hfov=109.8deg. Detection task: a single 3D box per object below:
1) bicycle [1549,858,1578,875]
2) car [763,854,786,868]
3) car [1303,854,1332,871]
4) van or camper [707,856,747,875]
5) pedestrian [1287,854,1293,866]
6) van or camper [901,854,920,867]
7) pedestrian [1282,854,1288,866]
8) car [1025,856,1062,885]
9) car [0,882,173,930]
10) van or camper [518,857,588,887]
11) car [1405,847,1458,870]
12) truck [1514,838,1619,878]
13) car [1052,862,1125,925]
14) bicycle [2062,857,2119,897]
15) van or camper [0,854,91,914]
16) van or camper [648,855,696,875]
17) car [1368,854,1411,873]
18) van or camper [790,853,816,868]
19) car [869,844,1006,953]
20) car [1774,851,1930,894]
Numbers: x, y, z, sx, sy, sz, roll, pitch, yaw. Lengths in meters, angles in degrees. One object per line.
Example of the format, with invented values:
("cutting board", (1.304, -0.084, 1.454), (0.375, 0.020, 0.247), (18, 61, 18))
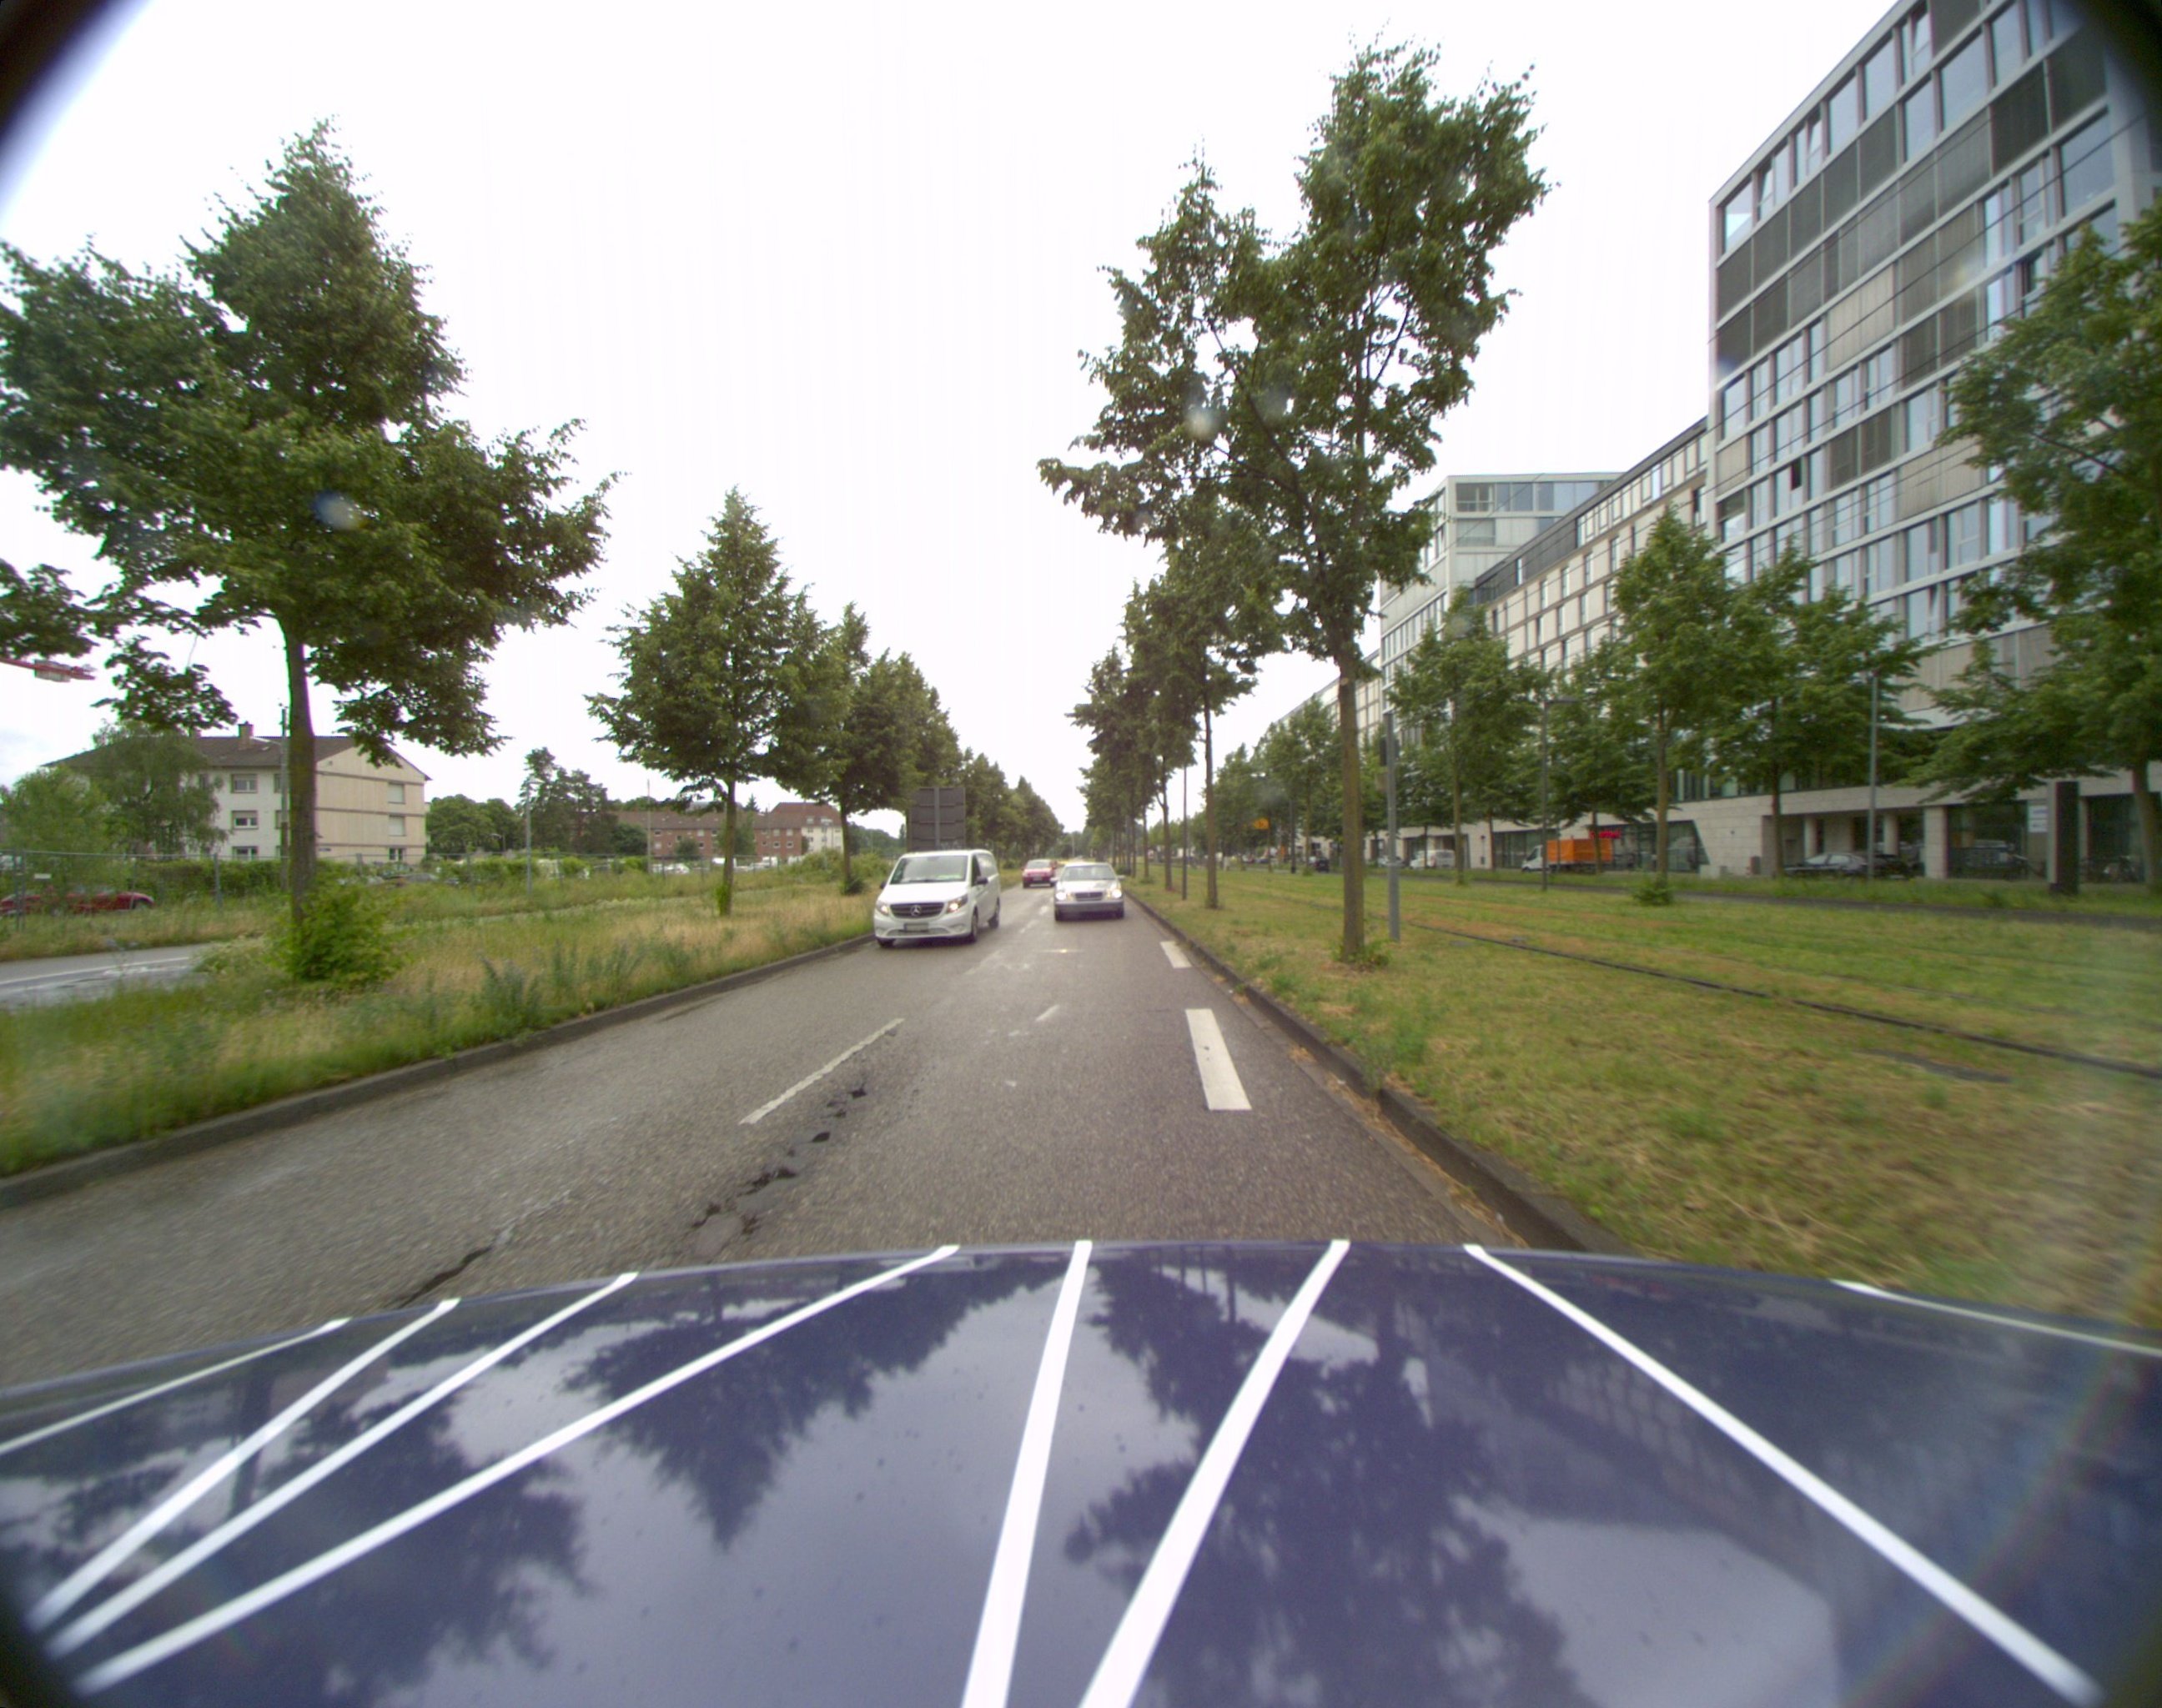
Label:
("bicycle", (27.296, 0.711, 43.009), (0.600, 0.939, 1.757), (-1, 0, 4))
("car", (-52.882, 1.179, 131.269), (2.278, 2.206, 4.758), (-2, 0, -3))
("car", (23.694, 0.845, 76.143), (1.998, 1.647, 3.701), (-1, 0, 4))
("van or camper", (-51.575, 1.678, 110.872), (2.783, 2.521, 6.418), (-3, 0, -2))
("pedestrian", (30.249, 0.921, 109.904), (0.712, 1.681, 0.793), (-1, 0, 3))
("van or camper", (-41.309, 1.475, 184.151), (2.343, 3.017, 5.515), (-3, 0, 11))
("pedestrian", (29.464, 0.900, 109.745), (0.712, 1.681, 0.793), (-1, 0, 3))
("car", (-2.158, 0.942, 44.895), (1.799, 1.602, 4.246), (-2, 0, 2))
("car", (-39.143, 1.988, 29.894), (1.859, 1.592, 4.002), (-1, 0, 6))
("van or camper", (-50.515, 1.634, 72.912), (2.314, 2.673, 6.395), (-1, 0, -2))
("car", (29.239, 0.357, 63.531), (1.999, 1.841, 5.164), (-1, 0, 0))
("truck", (29.660, 0.237, 46.728), (2.432, 2.278, 6.309), (-1, 0, 0))
("car", (0.176, 0.984, 20.787), (1.738, 1.451, 4.607), (-2, 0, 0))
("bicycle", (38.269, 0.854, 28.816), (1.436, 1.474, 0.546), (-2, 0, -1))
("van or camper", (-55.025, 1.539, 37.663), (2.914, 2.976, 6.777), (-1, 0, 1))
("van or camper", (-51.683, 1.317, 96.215), (2.509, 2.294, 6.647), (-3, 0, -2))
("car", (29.186, 0.840, 72.028), (2.150, 1.702, 4.463), (-1, 0, 0))
("van or camper", (-46.260, 1.069, 126.646), (2.208, 2.294, 6.147), (-3, 0, -2))
("car", (-2.892, 0.810, 16.521), (1.972, 1.968, 5.091), (-1, 0, 0))
("car", (28.960, 0.652, 28.749), (1.859, 1.456, 3.988), (-1, 0, 0))
